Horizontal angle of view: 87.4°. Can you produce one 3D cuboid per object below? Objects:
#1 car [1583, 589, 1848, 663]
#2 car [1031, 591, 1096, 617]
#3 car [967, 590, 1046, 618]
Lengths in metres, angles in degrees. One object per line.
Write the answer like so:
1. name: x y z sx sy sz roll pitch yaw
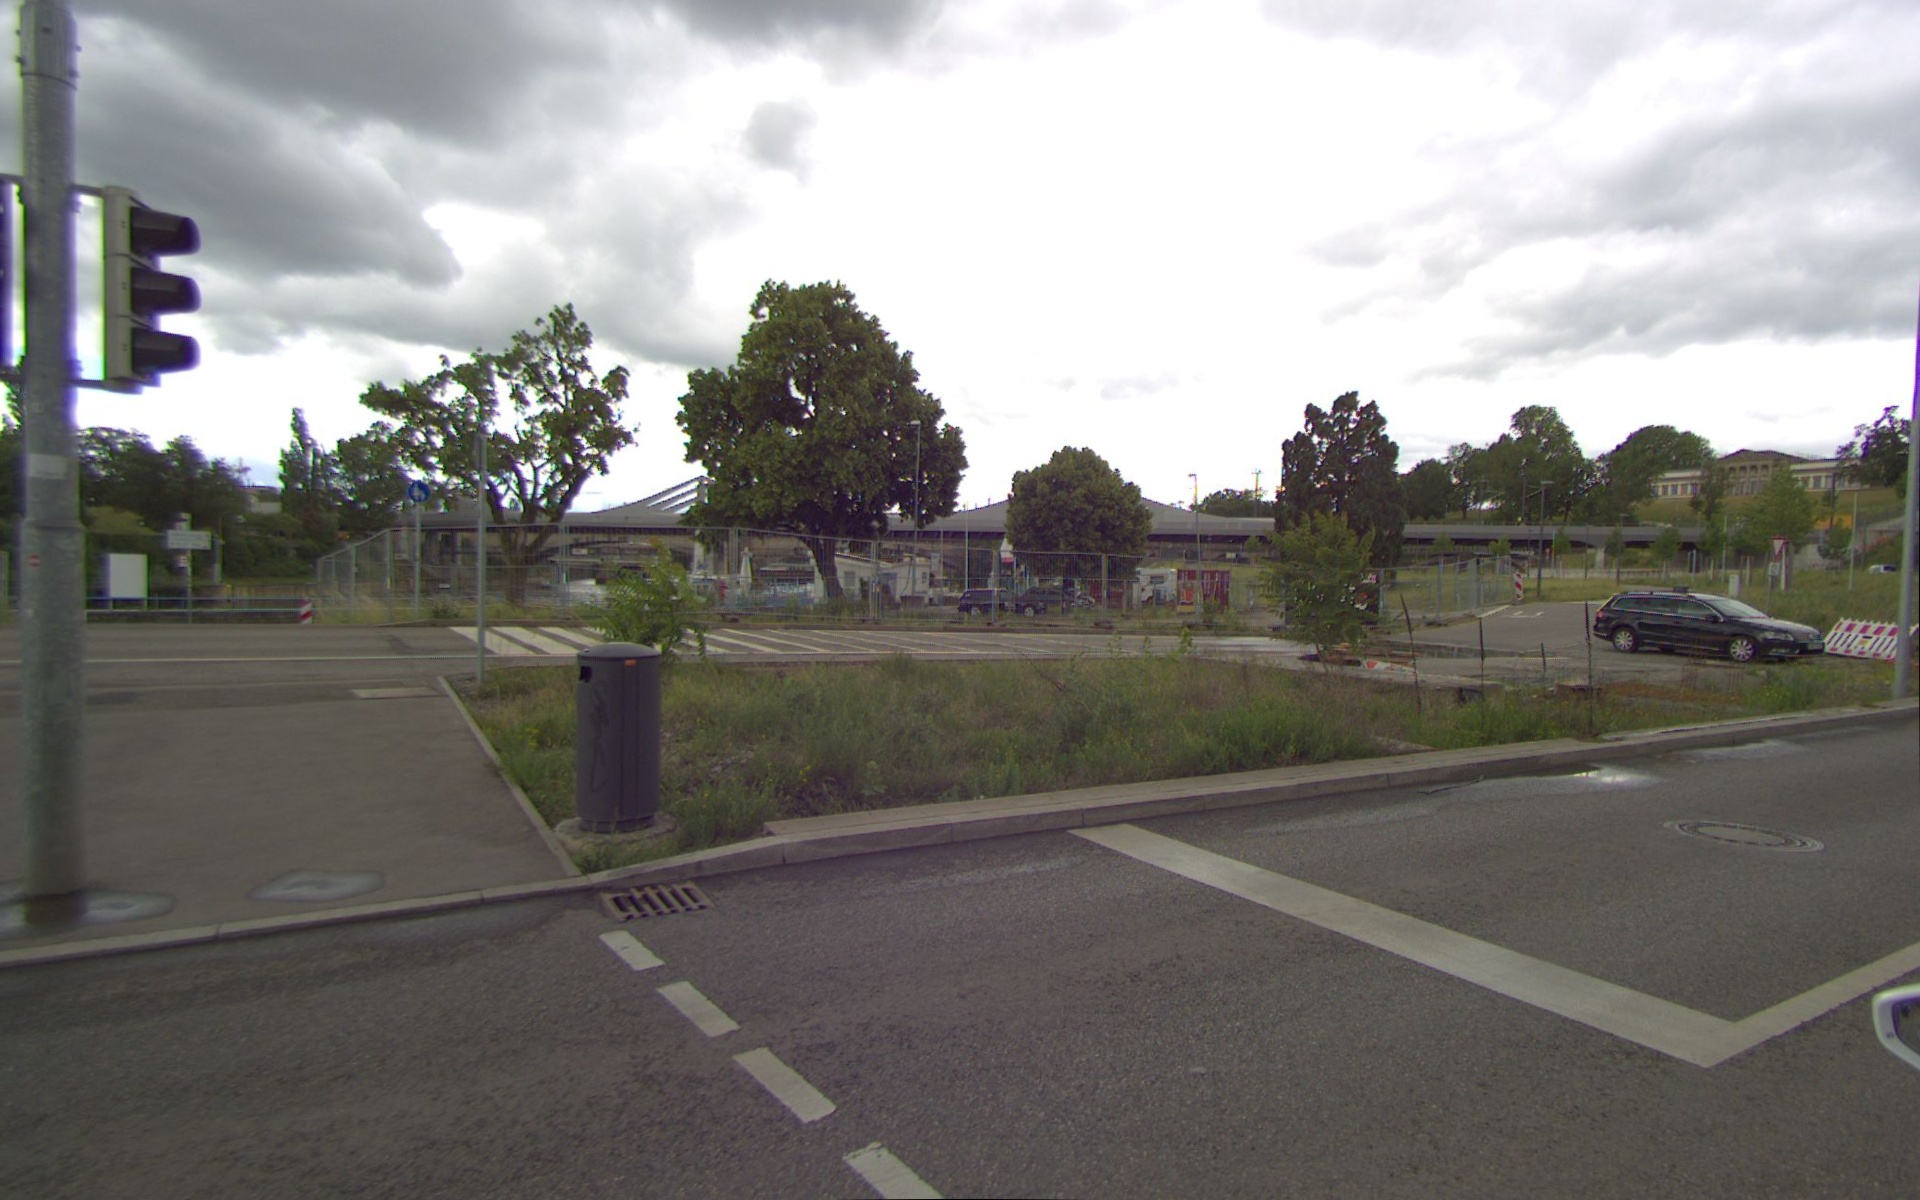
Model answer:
1. car: 17.634 0.523 23.766 1.970 1.497 4.702 0 2 -20
2. car: 5.686 0.214 55.084 3.436 1.309 1.603 1 1 8
3. car: 2.374 0.192 50.686 3.842 1.309 1.805 1 1 5
